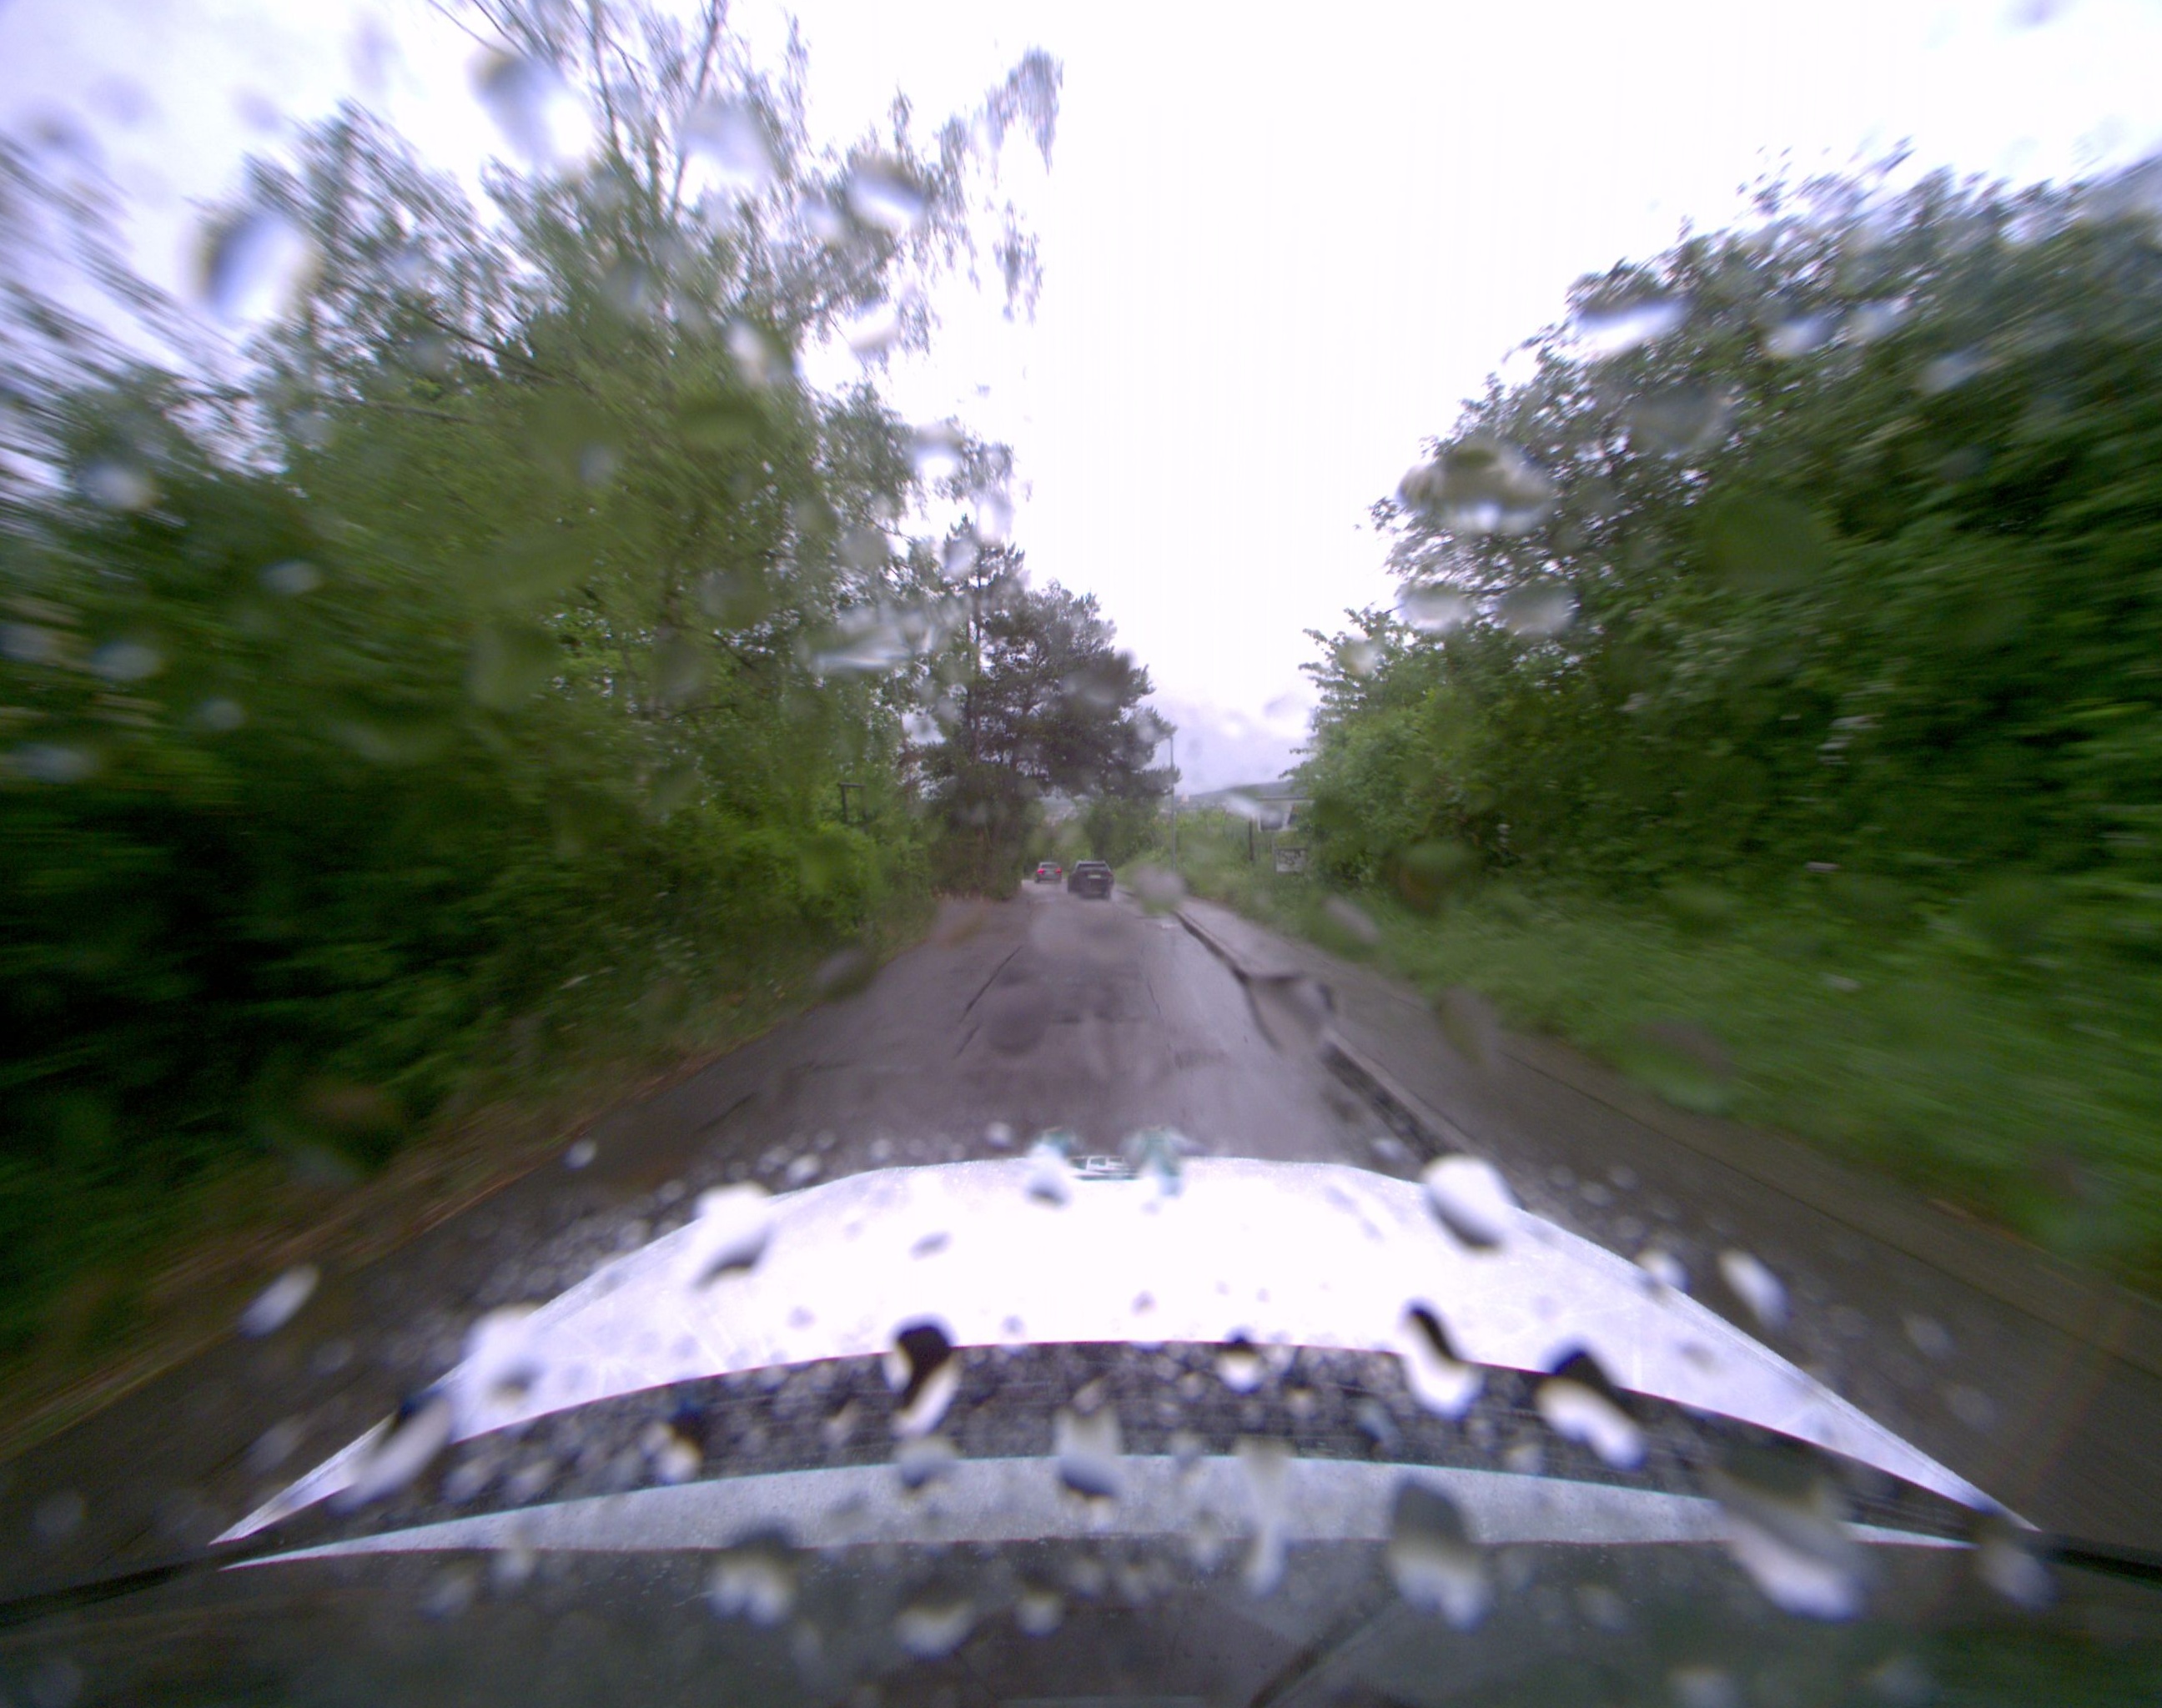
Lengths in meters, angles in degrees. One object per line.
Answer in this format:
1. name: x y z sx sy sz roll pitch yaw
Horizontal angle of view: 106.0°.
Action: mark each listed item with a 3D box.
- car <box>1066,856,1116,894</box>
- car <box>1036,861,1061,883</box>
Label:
1. car: 0.371 0.832 33.906 1.830 1.464 3.996 -1 0 -3
2. car: -2.427 1.287 60.000 1.676 1.565 3.786 0 0 -6
